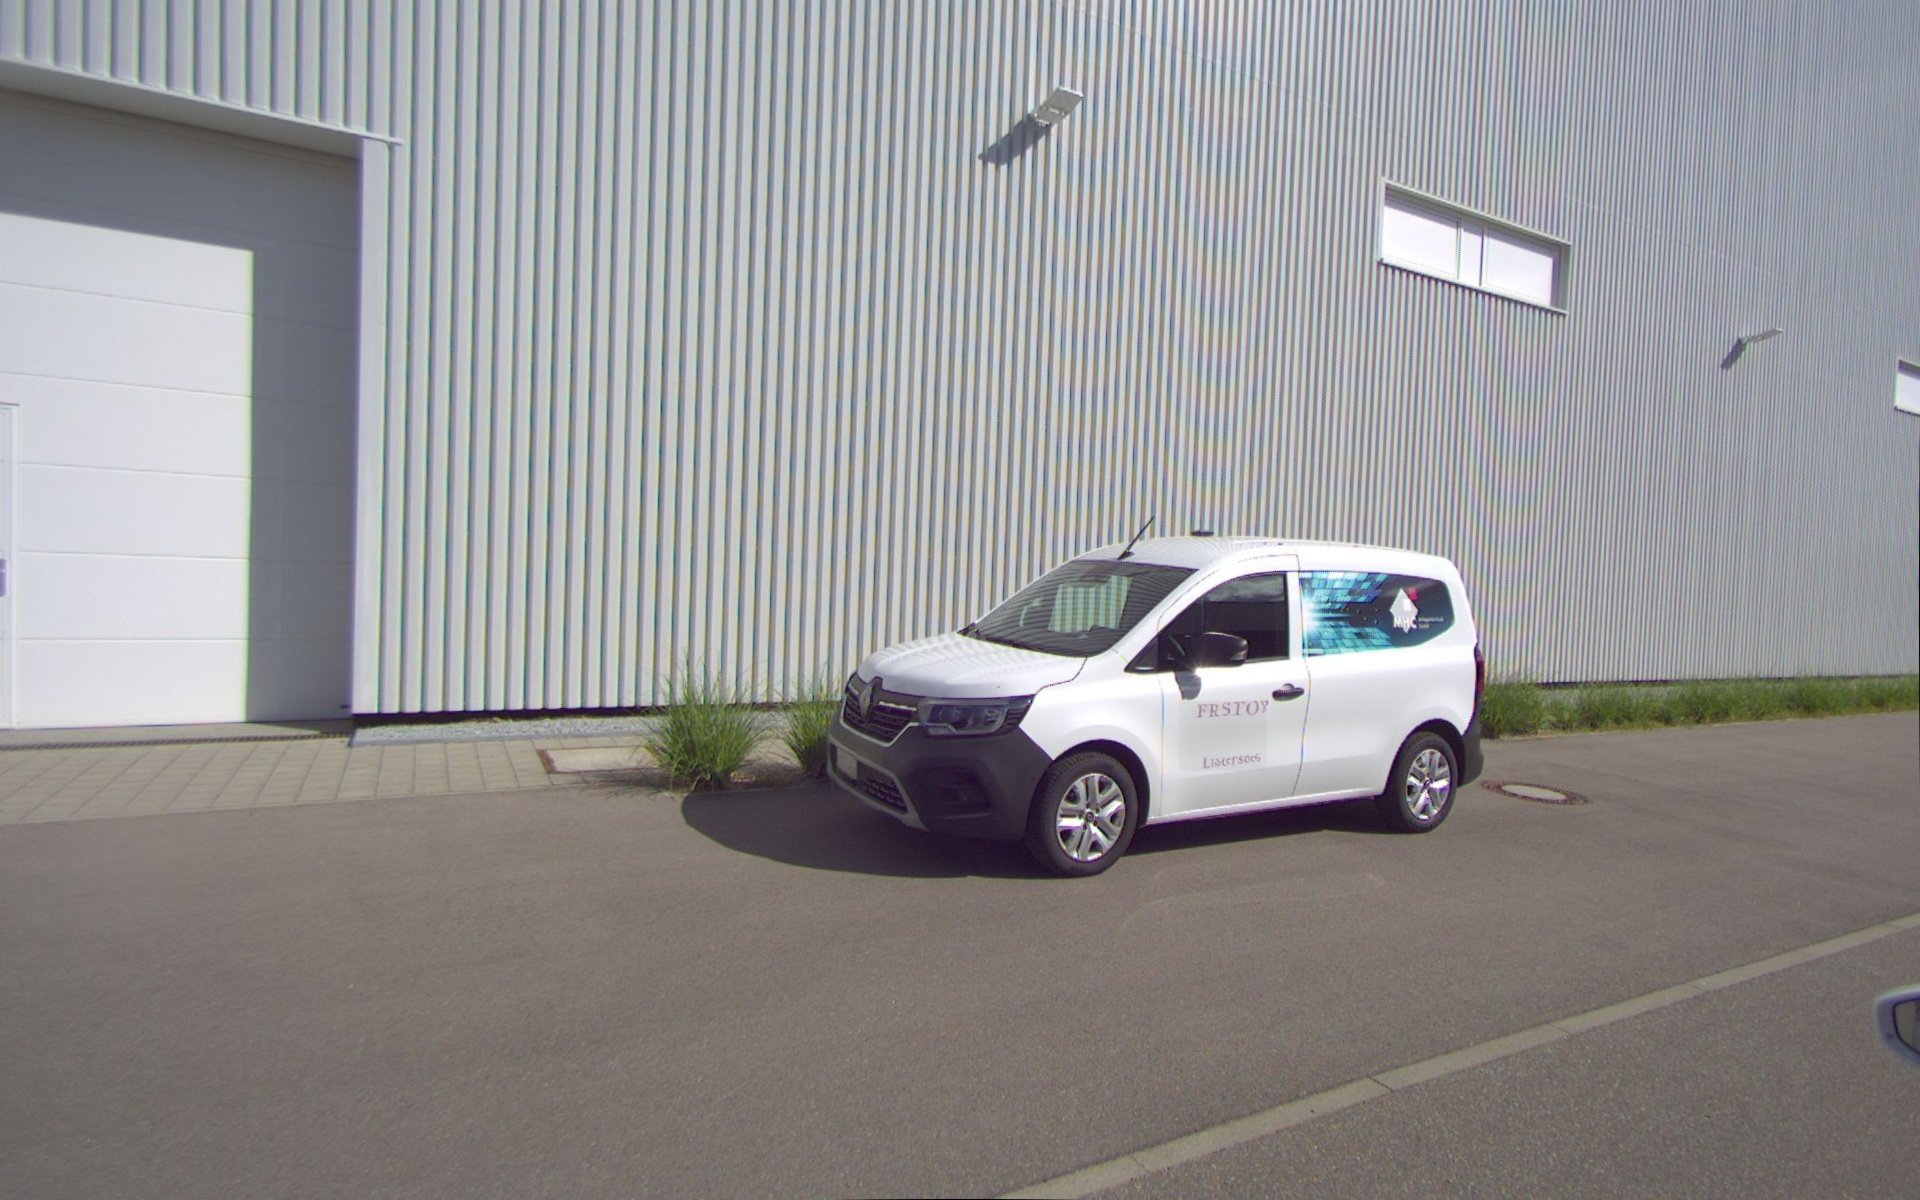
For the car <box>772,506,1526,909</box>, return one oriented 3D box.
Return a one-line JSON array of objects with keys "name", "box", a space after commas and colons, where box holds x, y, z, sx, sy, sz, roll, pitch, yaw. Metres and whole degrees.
[{"name": "car", "box": [1.305, 0.484, 6.459, 4.542, 1.814, 1.919, 1, 3, -29]}]
